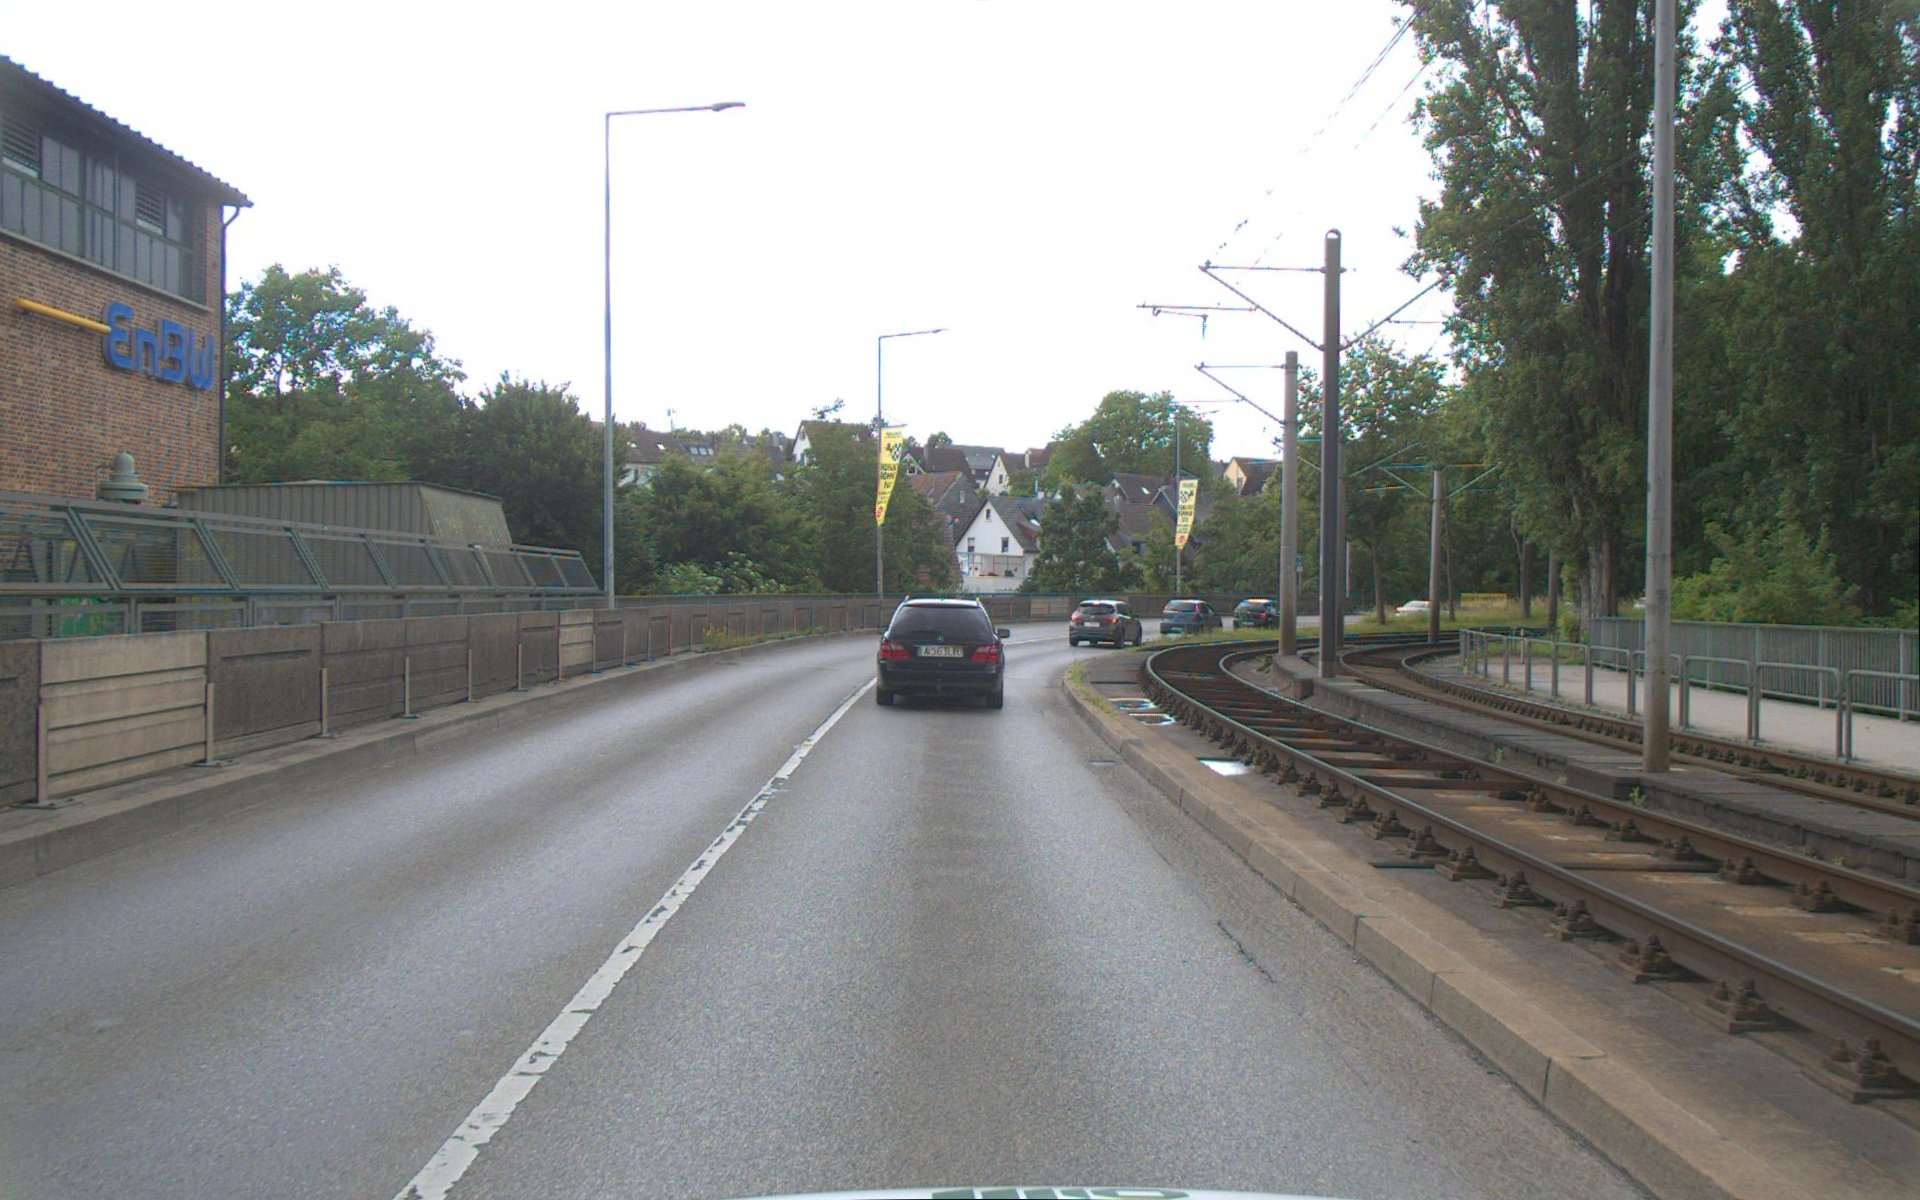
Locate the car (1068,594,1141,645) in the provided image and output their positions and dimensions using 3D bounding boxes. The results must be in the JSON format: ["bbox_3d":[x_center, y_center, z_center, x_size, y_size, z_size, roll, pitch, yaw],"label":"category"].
[{"bbox_3d":[4.871,0.619,55.371,1.733,1.582,4.244,-1,1,15],"label":"car"}]

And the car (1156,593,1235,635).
[{"bbox_3d":[9.296,0.512,65.097,1.758,1.582,4.380,0,0,27],"label":"car"}]

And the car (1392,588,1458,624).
[{"bbox_3d":[24.454,0.290,86.917,1.772,1.741,3.963,0,2,43],"label":"car"}]

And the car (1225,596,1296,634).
[{"bbox_3d":[13.087,0.644,71.810,1.737,1.582,4.233,1,0,30],"label":"car"}]

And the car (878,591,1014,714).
[{"bbox_3d":[-0.245,0.679,24.029,1.723,1.542,4.441,2,0,-2],"label":"car"}]
